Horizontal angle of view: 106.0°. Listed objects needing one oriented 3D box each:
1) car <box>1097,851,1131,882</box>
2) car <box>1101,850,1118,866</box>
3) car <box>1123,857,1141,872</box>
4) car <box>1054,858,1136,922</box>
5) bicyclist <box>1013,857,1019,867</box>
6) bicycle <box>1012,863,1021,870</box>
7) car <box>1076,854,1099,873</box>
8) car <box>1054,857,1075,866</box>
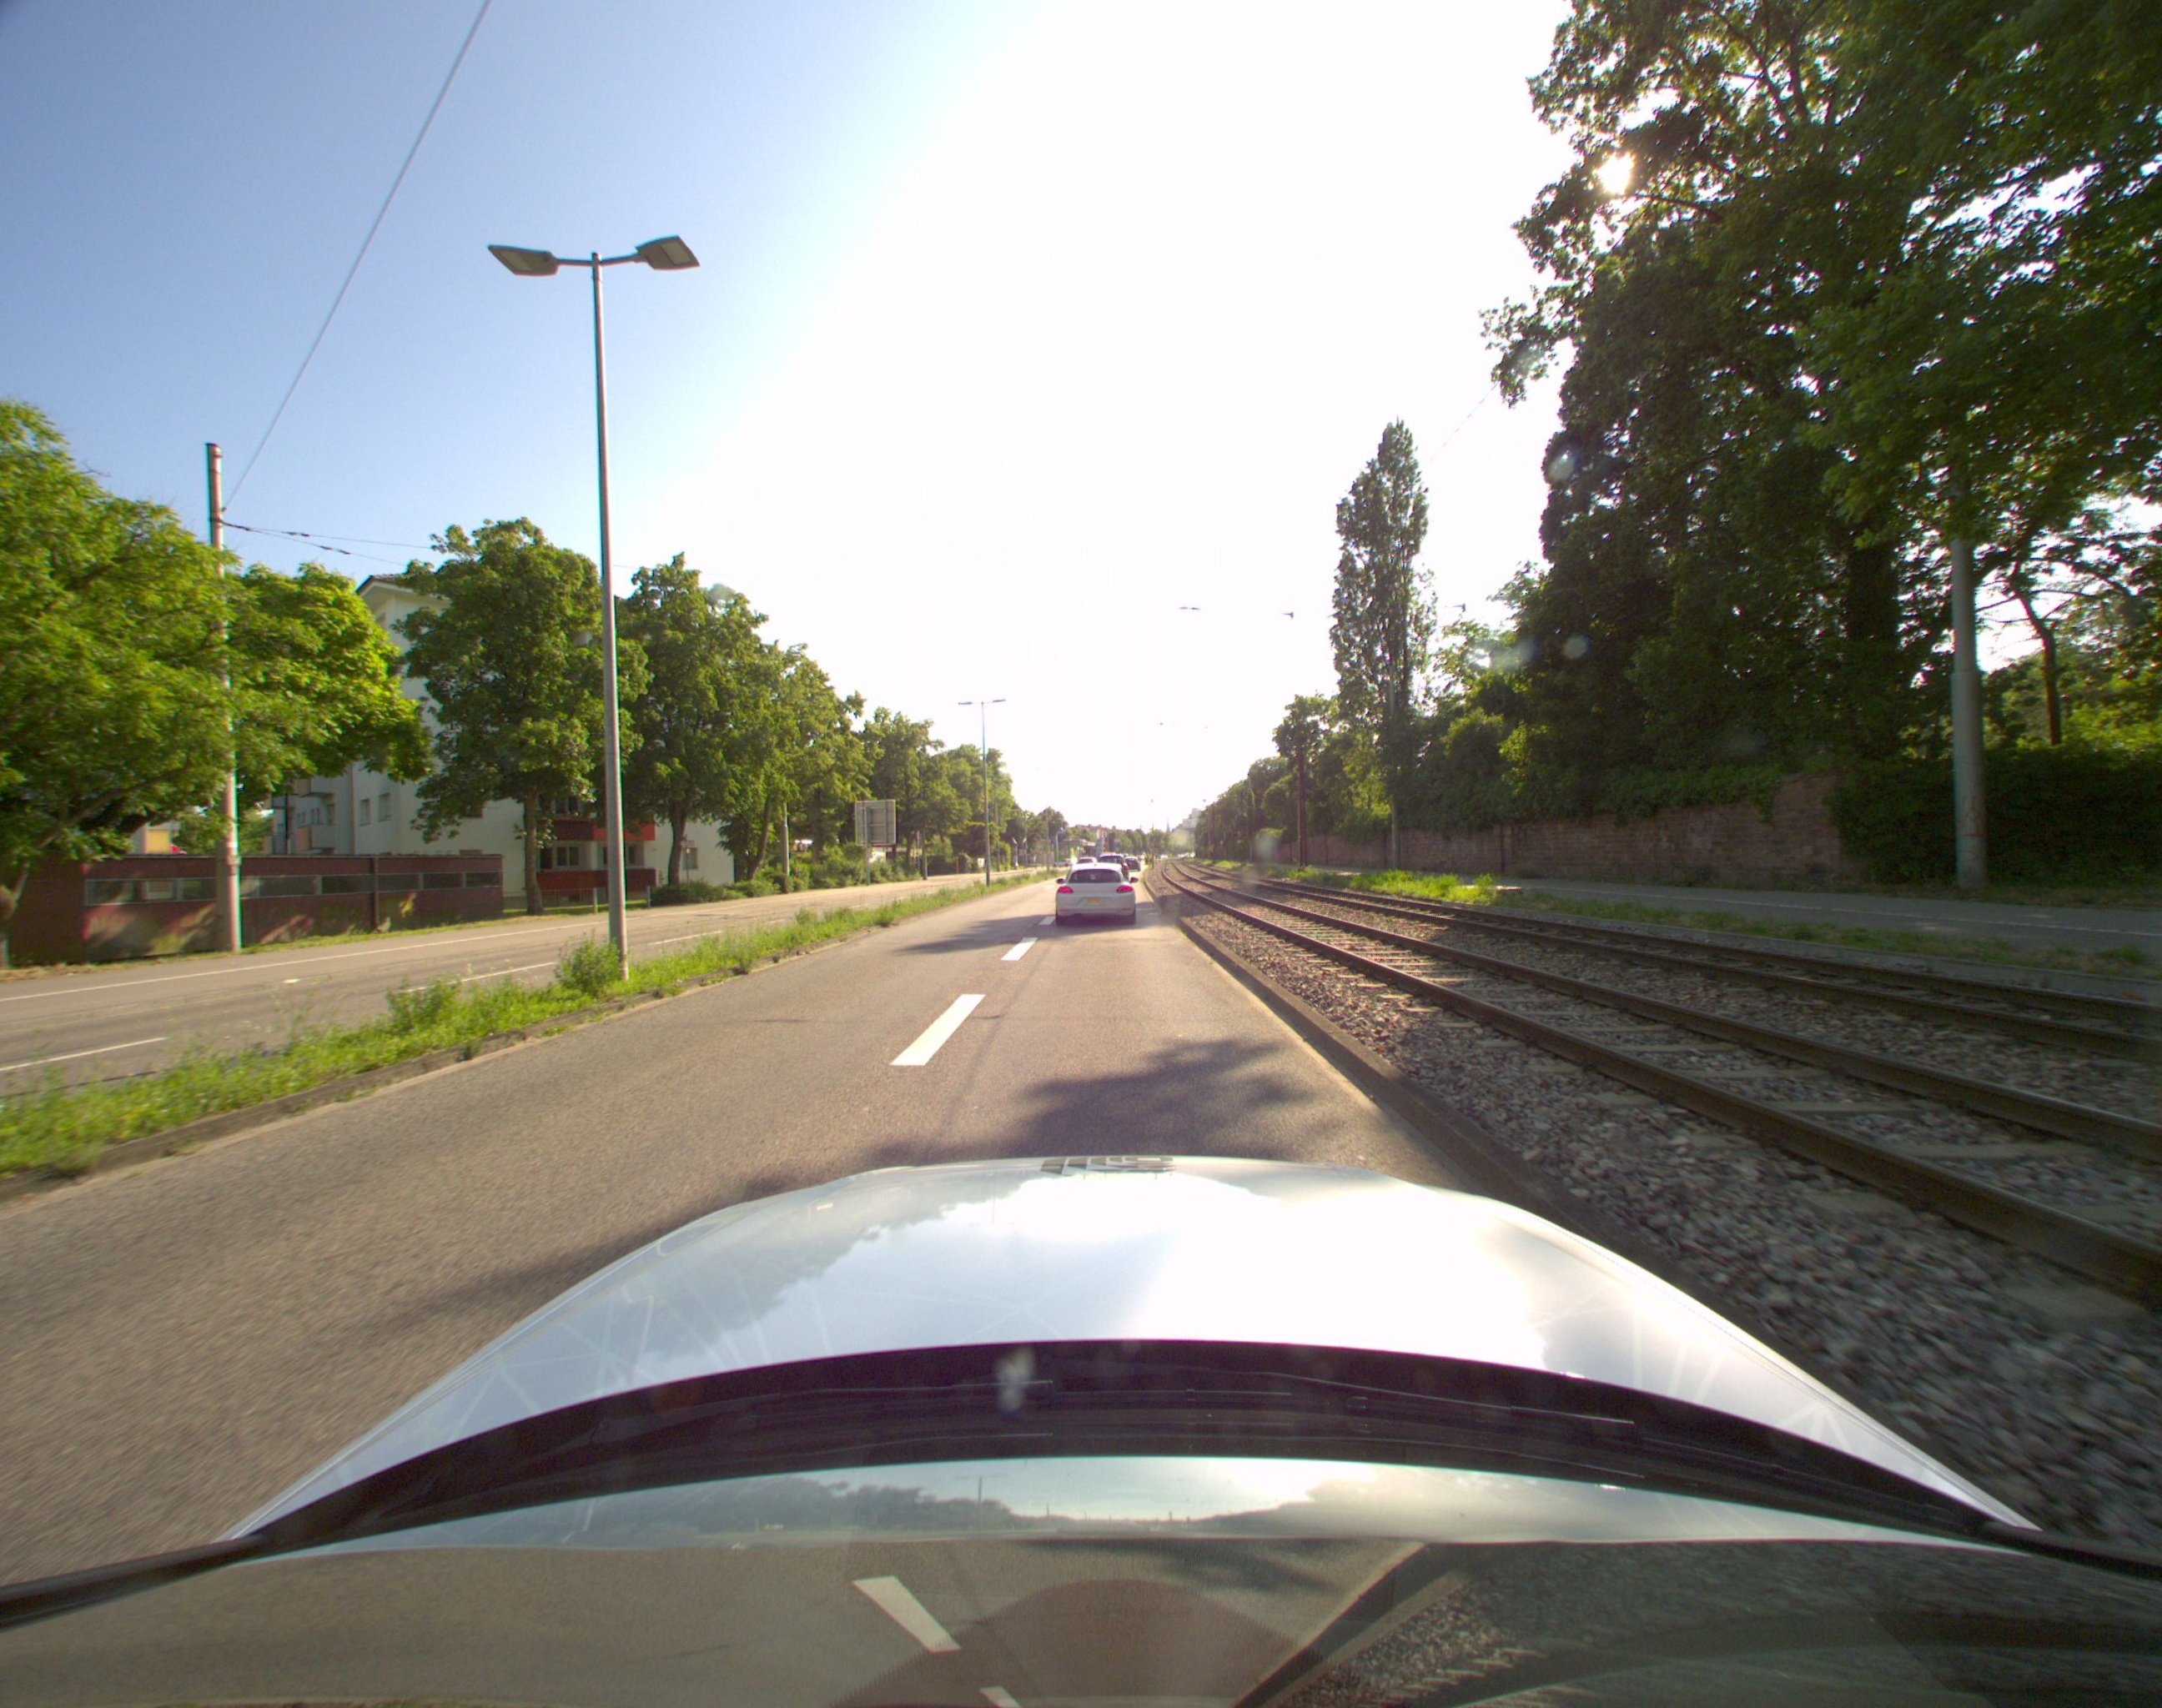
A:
[{"bbox_3d":[1.761,0.645,43.516,1.717,1.593,3.603,0,0,2],"label":"car"},{"bbox_3d":[3.601,0.501,101.591,1.809,1.963,4.408,-2,0,5],"label":"car"},{"bbox_3d":[5.085,1.029,81.151,1.742,1.485,3.603,0,0,2],"label":"car"},{"bbox_3d":[0.381,0.781,19.386,1.774,1.356,3.603,0,0,2],"label":"car"},{"bbox_3d":[-9.978,1.189,125.396,0.658,1.452,1.053,-2,0,9],"label":"bicyclist"},{"bbox_3d":[-9.953,1.873,125.323,0.658,1.049,2.587,-2,0,9],"label":"bicycle"},{"bbox_3d":[0.577,0.764,67.565,1.753,1.485,4.647,0,0,2],"label":"car"},{"bbox_3d":[-2.945,1.296,146.409,3.553,1.588,1.710,0,0,40],"label":"car"}]
